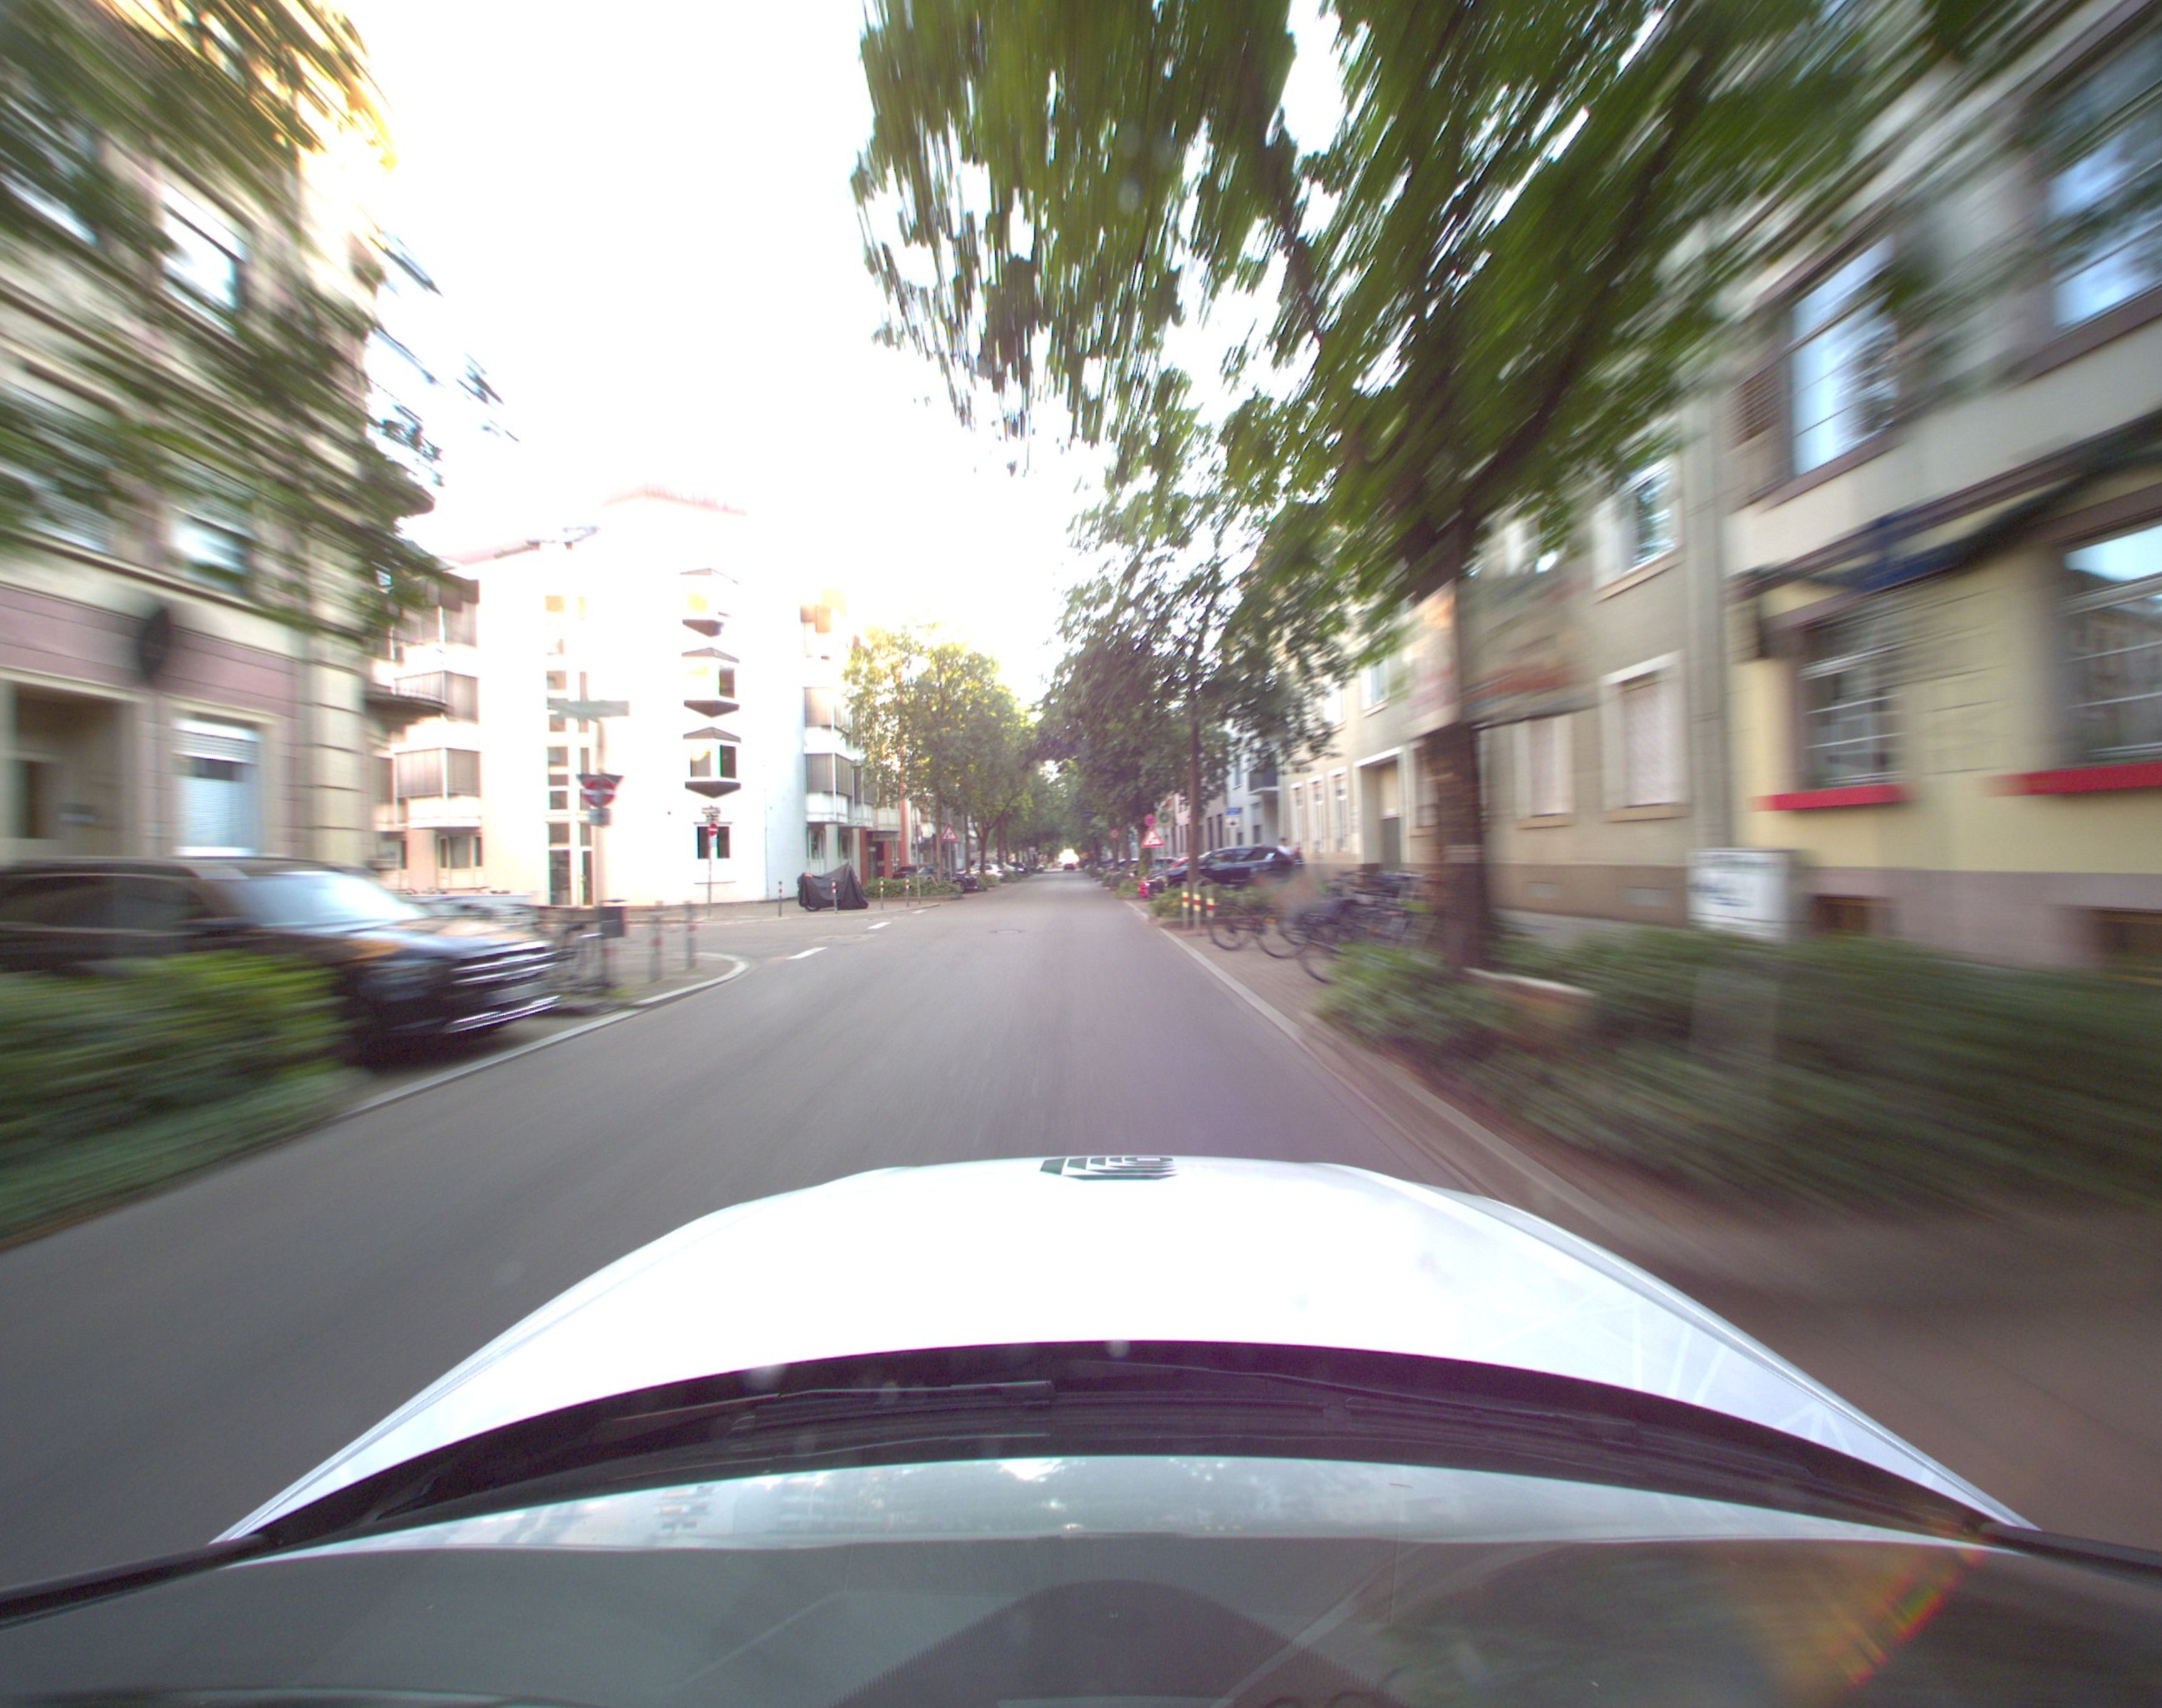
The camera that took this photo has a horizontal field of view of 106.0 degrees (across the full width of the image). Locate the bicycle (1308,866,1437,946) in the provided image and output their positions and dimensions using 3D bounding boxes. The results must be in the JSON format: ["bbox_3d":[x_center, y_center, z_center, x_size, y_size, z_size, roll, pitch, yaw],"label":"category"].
[{"bbox_3d":[4.486,0.779,12.559,1.792,1.107,0.499,-3,0,-7],"label":"bicycle"}]

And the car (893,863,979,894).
[{"bbox_3d":[-7.430,1.238,42.094,4.116,1.486,1.928,-1,-1,-2],"label":"car"}]

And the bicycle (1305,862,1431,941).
[{"bbox_3d":[4.652,0.755,13.248,1.794,1.143,0.667,-3,0,-10],"label":"bicycle"}]

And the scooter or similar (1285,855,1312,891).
[{"bbox_3d":[7.266,0.626,27.213,0.653,1.153,0.831,-2,-1,0],"label":"scooter or similar"}]

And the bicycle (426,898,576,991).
[{"bbox_3d":[-7.225,1.089,10.263,0.520,1.019,1.861,1,-2,-1],"label":"bicycle"}]

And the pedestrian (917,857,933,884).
[{"bbox_3d":[-10.101,1.065,52.808,0.697,1.757,0.744,-2,-1,23],"label":"pedestrian"}]

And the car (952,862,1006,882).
[{"bbox_3d":[-7.870,1.395,63.052,3.857,1.486,1.757,-1,-1,0],"label":"car"}]

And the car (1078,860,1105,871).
[{"bbox_3d":[1.689,1.961,134.541,4.256,1.565,1.962,-3,-1,-1],"label":"car"}]

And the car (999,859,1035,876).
[{"bbox_3d":[-8.656,1.850,110.628,4.749,1.984,1.962,-3,-1,-1],"label":"car"}]

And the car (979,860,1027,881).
[{"bbox_3d":[-7.986,1.728,83.777,4.669,1.854,1.962,-3,-1,-1],"label":"car"}]

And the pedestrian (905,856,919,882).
[{"bbox_3d":[-11.240,0.983,54.163,0.701,1.728,0.904,-1,-1,-1],"label":"pedestrian"}]

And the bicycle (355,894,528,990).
[{"bbox_3d":[-7.963,1.055,10.271,0.666,1.063,1.861,1,-2,-1],"label":"bicycle"}]

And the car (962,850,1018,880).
[{"bbox_3d":[-7.955,0.934,71.346,4.669,2.478,1.999,-1,-1,-1],"label":"car"}]

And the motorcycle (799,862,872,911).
[{"bbox_3d":[-7.954,1.029,26.362,2.216,1.481,0.854,-1,0,-20],"label":"motorcycle"}]

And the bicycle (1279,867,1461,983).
[{"bbox_3d":[3.308,0.796,9.431,1.825,1.178,0.672,-3,0,-2],"label":"bicycle"}]

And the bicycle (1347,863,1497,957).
[{"bbox_3d":[4.675,0.748,11.193,1.794,1.143,0.649,-3,0,-10],"label":"bicycle"}]

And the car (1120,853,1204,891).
[{"bbox_3d":[3.592,0.782,36.489,3.476,1.452,1.897,-3,0,-3],"label":"car"}]

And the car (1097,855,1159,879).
[{"bbox_3d":[3.583,1.018,63.166,4.701,1.710,1.950,-1,0,0],"label":"car"}]

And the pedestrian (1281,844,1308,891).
[{"bbox_3d":[7.256,0.446,27.712,0.653,1.536,0.831,-2,-1,0],"label":"pedestrian"}]

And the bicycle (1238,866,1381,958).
[{"bbox_3d":[3.239,0.804,11.633,1.825,1.178,0.600,-3,0,-2],"label":"bicycle"}]

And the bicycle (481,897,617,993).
[{"bbox_3d":[-6.632,1.092,10.274,0.521,1.059,1.859,1,-2,-3],"label":"bicycle"}]

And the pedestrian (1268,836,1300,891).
[{"bbox_3d":[6.647,0.307,26.685,0.694,1.737,0.667,-2,-1,-32],"label":"pedestrian"}]

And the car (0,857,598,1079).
[{"bbox_3d":[-6.974,0.864,7.073,4.412,1.651,1.872,0,0,0],"label":"car"}]

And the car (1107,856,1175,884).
[{"bbox_3d":[3.590,0.937,49.217,3.869,1.440,1.845,-3,0,-5],"label":"car"}]

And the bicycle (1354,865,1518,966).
[{"bbox_3d":[4.496,0.756,10.371,1.792,1.128,0.662,-3,0,-7],"label":"bicycle"}]

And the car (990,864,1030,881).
[{"bbox_3d":[-7.947,2.108,91.494,4.191,1.635,1.962,-3,-1,-1],"label":"car"}]

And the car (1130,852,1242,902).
[{"bbox_3d":[3.530,0.756,27.847,3.476,1.452,1.897,-3,0,-3],"label":"car"}]

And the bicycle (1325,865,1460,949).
[{"bbox_3d":[4.595,0.770,12.042,1.792,1.107,0.499,-3,0,-7],"label":"bicycle"}]

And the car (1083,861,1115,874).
[{"bbox_3d":[2.492,1.891,111.612,4.256,1.565,1.962,-3,-1,-1],"label":"car"}]

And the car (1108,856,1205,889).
[{"bbox_3d":[3.789,0.927,41.397,4.698,1.421,2.034,-3,0,-1],"label":"car"}]

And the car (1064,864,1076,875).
[{"bbox_3d":[-1.823,2.534,134.806,1.951,1.565,4.280,-3,-1,-1],"label":"car"}]

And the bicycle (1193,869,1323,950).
[{"bbox_3d":[2.805,0.855,12.949,1.838,1.135,0.742,-3,0,-12],"label":"bicycle"}]

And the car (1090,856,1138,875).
[{"bbox_3d":[3.166,1.129,78.515,4.490,1.521,1.996,-3,-1,2],"label":"car"}]

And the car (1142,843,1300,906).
[{"bbox_3d":[4.134,0.607,24.611,4.411,1.656,1.899,-2,0,0],"label":"car"}]
